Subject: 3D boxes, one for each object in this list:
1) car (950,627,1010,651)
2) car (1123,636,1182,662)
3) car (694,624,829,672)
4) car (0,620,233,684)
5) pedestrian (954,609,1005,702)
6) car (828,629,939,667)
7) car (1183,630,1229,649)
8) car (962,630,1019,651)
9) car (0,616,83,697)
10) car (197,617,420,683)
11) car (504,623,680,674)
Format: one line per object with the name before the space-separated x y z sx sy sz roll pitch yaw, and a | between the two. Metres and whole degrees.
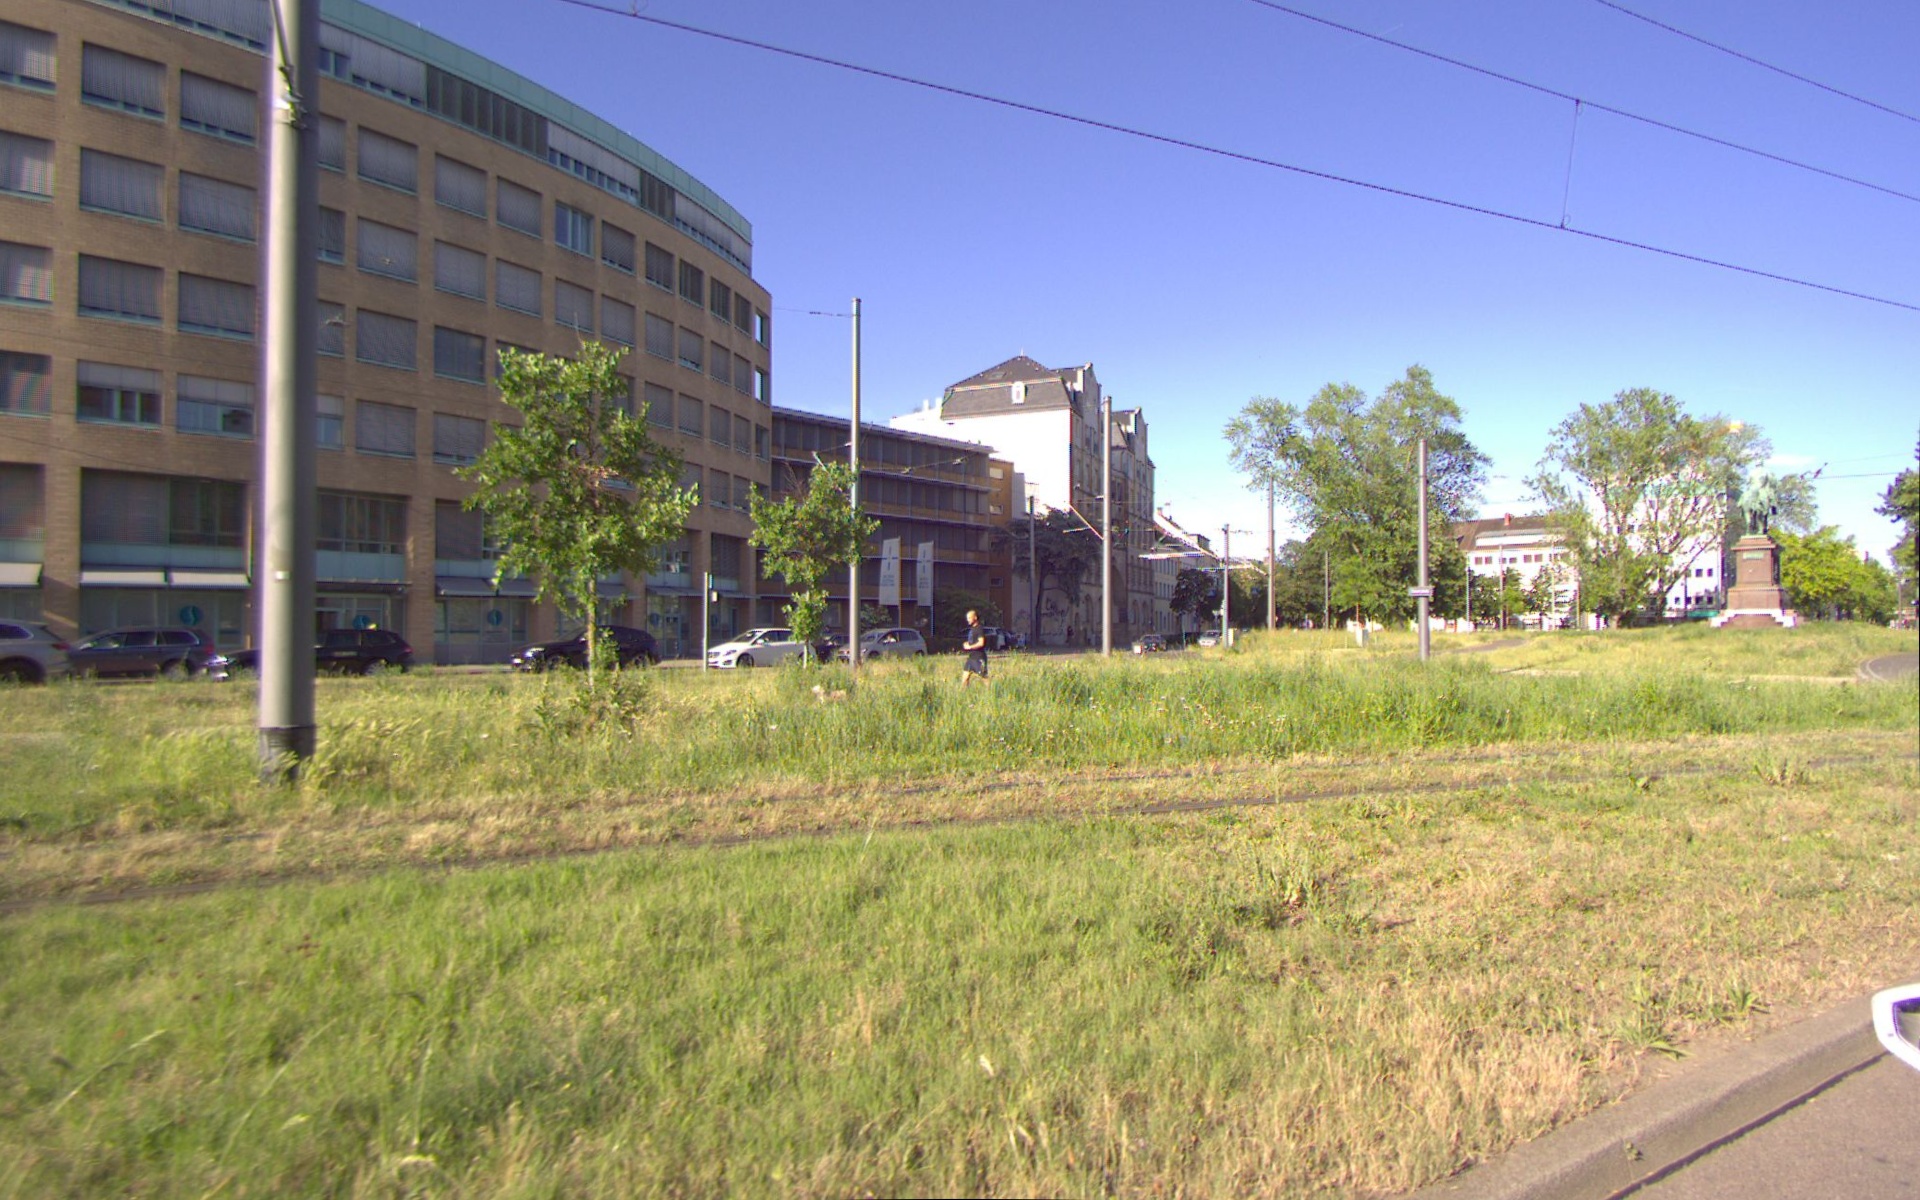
car | 1.456 2.800 72.455 3.919 1.602 2.001 2 -1 16
car | 12.872 3.289 67.066 1.970 1.532 4.264 0 -4 40
car | -7.325 1.768 37.391 1.972 1.617 4.630 1 -1 43
car | -25.181 1.533 30.131 2.096 1.690 5.179 1 -1 44
pedestrian | 0.354 1.024 18.692 0.733 1.693 0.733 1 -1 -20
car | -3.124 1.966 41.768 1.970 1.446 4.489 1 -1 40
car | 19.695 3.129 80.222 1.967 1.372 4.752 1 0 35
car | 2.289 2.981 74.912 3.919 1.359 2.001 2 -1 16
car | -22.370 1.213 21.641 2.077 1.757 5.057 -1 -2 43
car | -17.258 1.298 26.767 1.972 1.537 4.635 1 -1 43
car | -11.862 1.554 32.607 4.984 1.466 1.975 3 -1 -43
